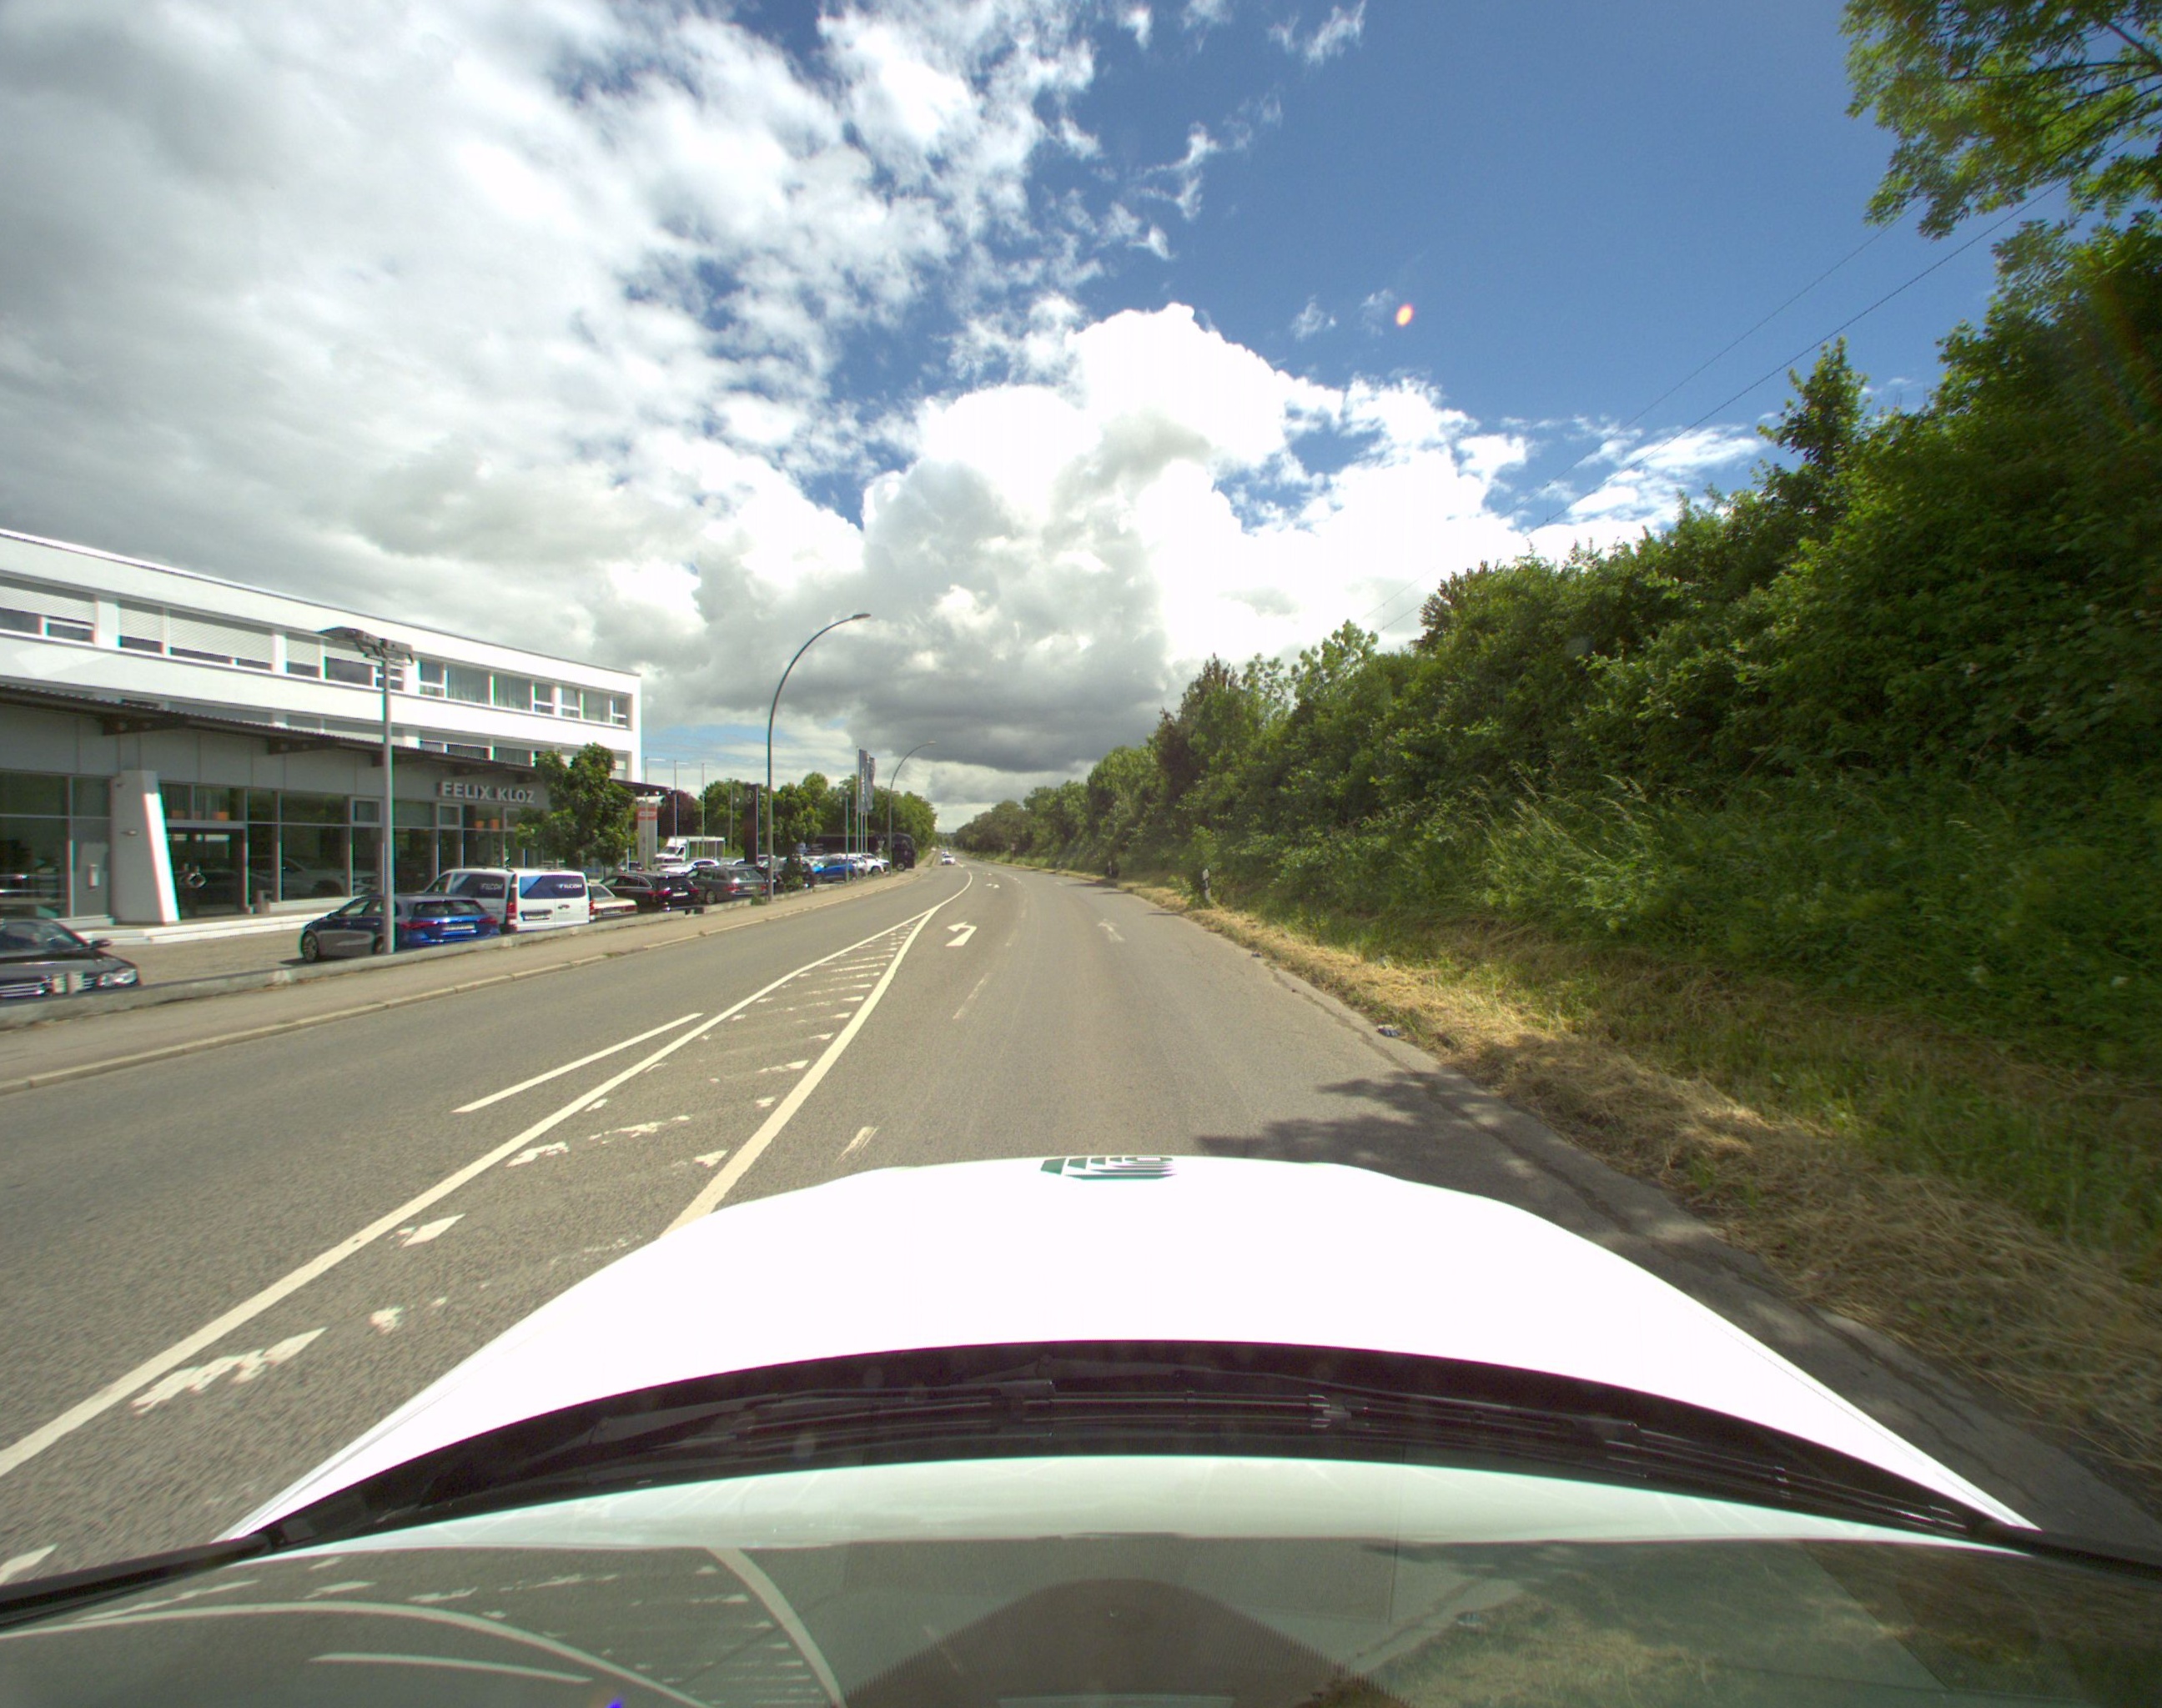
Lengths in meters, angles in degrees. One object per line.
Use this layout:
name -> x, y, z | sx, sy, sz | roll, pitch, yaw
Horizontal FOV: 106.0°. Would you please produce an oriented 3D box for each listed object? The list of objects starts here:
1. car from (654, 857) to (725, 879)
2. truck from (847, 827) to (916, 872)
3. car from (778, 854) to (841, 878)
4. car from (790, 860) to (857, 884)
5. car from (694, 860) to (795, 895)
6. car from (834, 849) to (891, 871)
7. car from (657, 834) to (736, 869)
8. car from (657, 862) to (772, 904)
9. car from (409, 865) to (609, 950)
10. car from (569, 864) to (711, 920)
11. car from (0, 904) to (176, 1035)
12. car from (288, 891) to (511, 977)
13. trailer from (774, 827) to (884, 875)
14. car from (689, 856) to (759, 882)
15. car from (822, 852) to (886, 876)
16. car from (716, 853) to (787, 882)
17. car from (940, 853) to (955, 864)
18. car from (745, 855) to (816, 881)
car -> -26.808, 0.941, 55.862 | 1.975, 1.455, 4.024 | 0, 0, 29
truck -> -19.586, -0.482, 80.003 | 6.141, 4.093, 2.806 | -2, 1, -21
car -> -19.278, 0.810, 57.946 | 1.975, 1.653, 4.024 | 0, 0, 28
car -> -16.397, 1.123, 52.012 | 1.609, 1.475, 4.024 | 0, 0, 29
car -> -14.193, 0.957, 34.347 | 4.152, 1.401, 1.670 | 0, 0, 28
car -> -18.673, 0.495, 69.687 | 4.335, 1.763, 1.977 | 0, 0, -38
car -> -38.482, -0.270, 81.926 | 3.183, 3.335, 8.198 | 0, 0, 7
car -> -13.942, 1.063, 30.931 | 4.152, 1.479, 1.806 | 0, 0, 28
car -> -13.058, 1.129, 18.593 | 3.937, 1.700, 2.187 | 0, 0, 28
car -> -13.997, 1.146, 25.843 | 4.152, 1.601, 1.993 | 0, 0, 28
car -> -14.188, 1.429, 10.701 | 4.154, 1.350, 1.842 | 0, 0, 24
car -> -13.430, 1.479, 16.021 | 4.152, 1.350, 1.949 | 0, 0, 28
trailer -> -24.155, -0.327, 78.098 | 9.763, 4.093, 2.804 | -3, 1, -23
car -> -24.232, 0.988, 55.416 | 1.975, 1.644, 4.024 | 0, 0, 29
car -> -17.444, 0.740, 62.549 | 4.335, 1.763, 1.977 | 0, 0, -38
car -> -21.924, 0.885, 54.315 | 1.975, 1.830, 4.024 | 0, 0, 29
car -> -18.972, 0.687, 115.684 | 1.993, 1.537, 3.987 | 0, 0, -10
car -> -19.528, 0.873, 53.055 | 1.975, 1.631, 4.024 | 0, 0, 29
